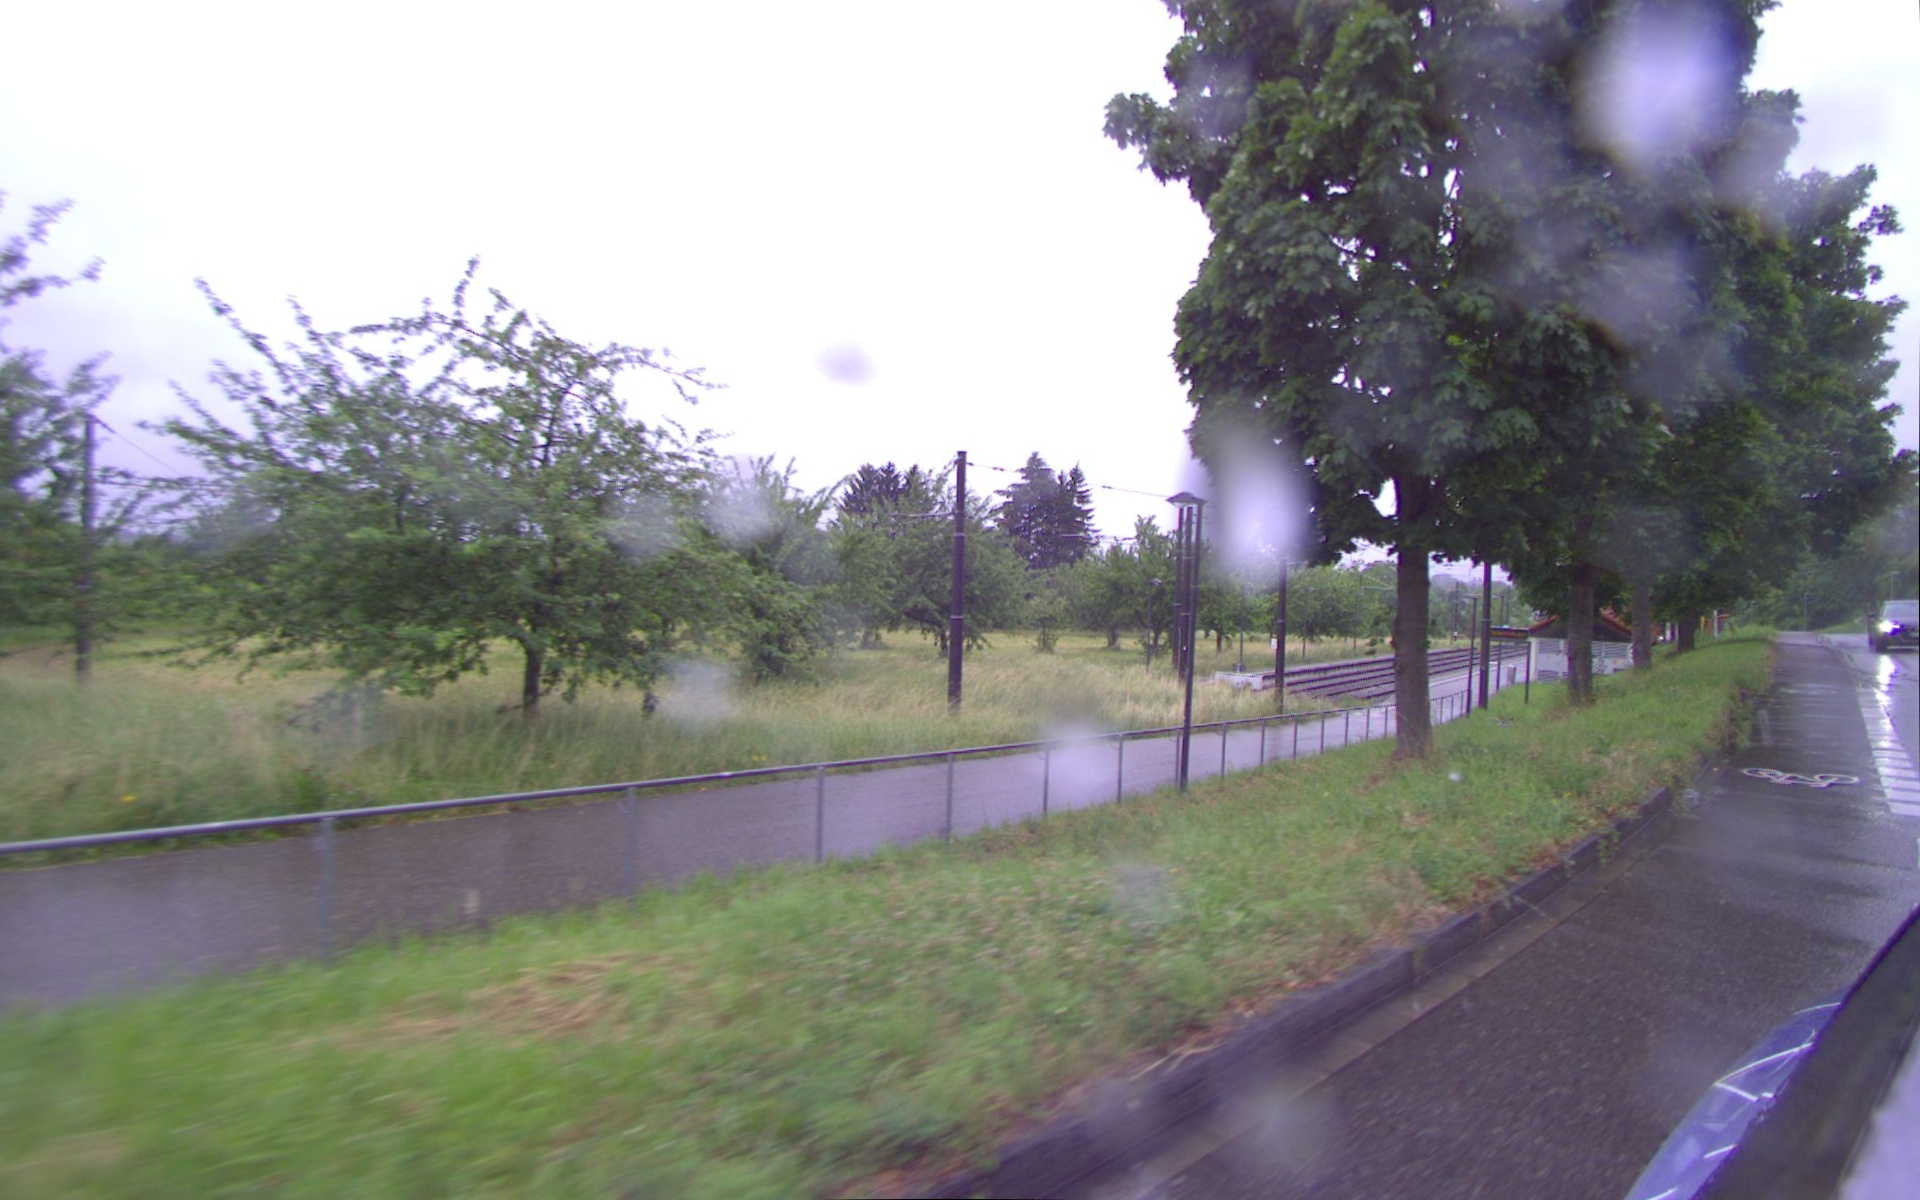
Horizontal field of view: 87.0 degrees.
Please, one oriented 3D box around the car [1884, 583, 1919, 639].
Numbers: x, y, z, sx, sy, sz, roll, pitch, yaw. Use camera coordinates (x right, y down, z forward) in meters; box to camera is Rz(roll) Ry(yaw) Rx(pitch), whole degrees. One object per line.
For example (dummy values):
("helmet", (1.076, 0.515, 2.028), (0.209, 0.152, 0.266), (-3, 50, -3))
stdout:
("car", (27.538, 0.366, 28.634), (1.758, 1.504, 3.737), (3, 0, 38))
